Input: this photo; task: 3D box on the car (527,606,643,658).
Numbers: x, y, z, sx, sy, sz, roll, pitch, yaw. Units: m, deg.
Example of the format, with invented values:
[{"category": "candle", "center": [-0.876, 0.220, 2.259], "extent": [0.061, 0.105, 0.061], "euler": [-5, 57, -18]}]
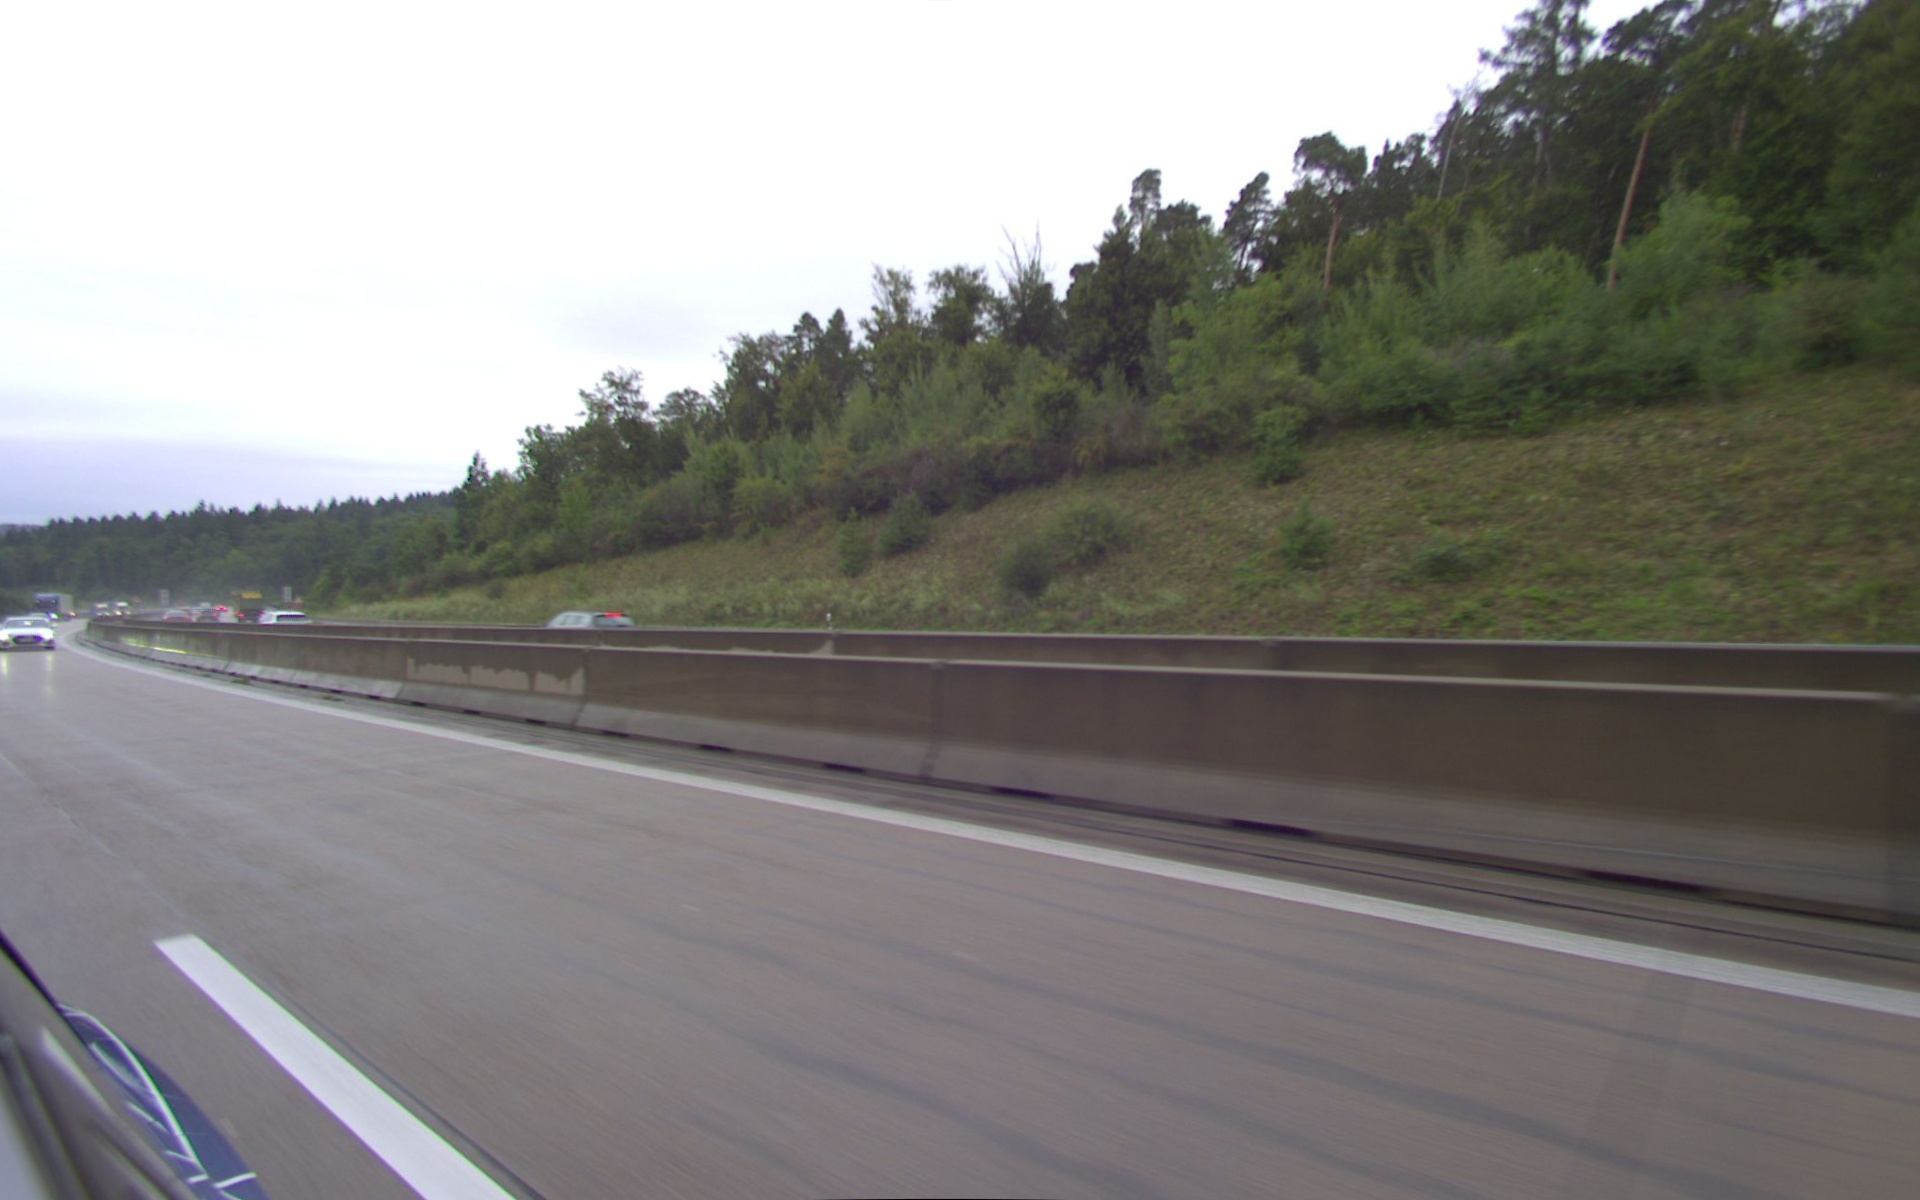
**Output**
[{"category": "car", "center": [-11.629, 0.965, 31.249], "extent": [4.282, 1.498, 1.557], "euler": [-2, -1, 42]}]

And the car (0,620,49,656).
[{"category": "car", "center": [-40.089, 1.591, 43.223], "extent": [1.692, 1.417, 4.940], "euler": [-1, -1, -43]}]

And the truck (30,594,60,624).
[{"category": "truck", "center": [-131.469, 1.300, 145.492], "extent": [2.696, 4.183, 8.637], "euler": [-1, -1, -39]}]

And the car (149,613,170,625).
[{"category": "car", "center": [-96.878, 2.304, 122.455], "extent": [1.633, 1.356, 4.091], "euler": [-1, 0, -42]}]

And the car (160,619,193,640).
[{"category": "car", "center": [-61.262, 2.282, 79.103], "extent": [1.841, 1.560, 4.006], "euler": [0, -1, -41]}]

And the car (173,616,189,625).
[{"category": "car", "center": [-117.722, 3.114, 152.944], "extent": [1.633, 1.356, 4.092], "euler": [-1, 0, -41]}]

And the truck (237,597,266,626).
[{"category": "truck", "center": [-83.643, 1.380, 119.389], "extent": [2.587, 3.321, 9.403], "euler": [0, -1, -37]}]

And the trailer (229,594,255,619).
[{"category": "trailer", "center": [-117.120, 1.162, 165.071], "extent": [2.975, 3.904, 13.730], "euler": [-1, 0, -37]}]

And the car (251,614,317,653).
[{"category": "car", "center": [-29.579, 1.431, 44.238], "extent": [1.721, 1.573, 4.288], "euler": [0, -1, -43]}]

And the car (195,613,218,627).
[{"category": "car", "center": [-74.808, 2.005, 100.448], "extent": [1.632, 1.356, 4.093], "euler": [-1, 0, -39]}]

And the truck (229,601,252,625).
[{"category": "truck", "center": [-122.226, 2.160, 171.872], "extent": [2.986, 3.904, 8.136], "euler": [-1, 0, -36]}]

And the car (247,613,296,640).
[{"category": "car", "center": [-42.164, 1.627, 61.942], "extent": [4.285, 1.573, 1.722], "euler": [-1, -1, 45]}]
